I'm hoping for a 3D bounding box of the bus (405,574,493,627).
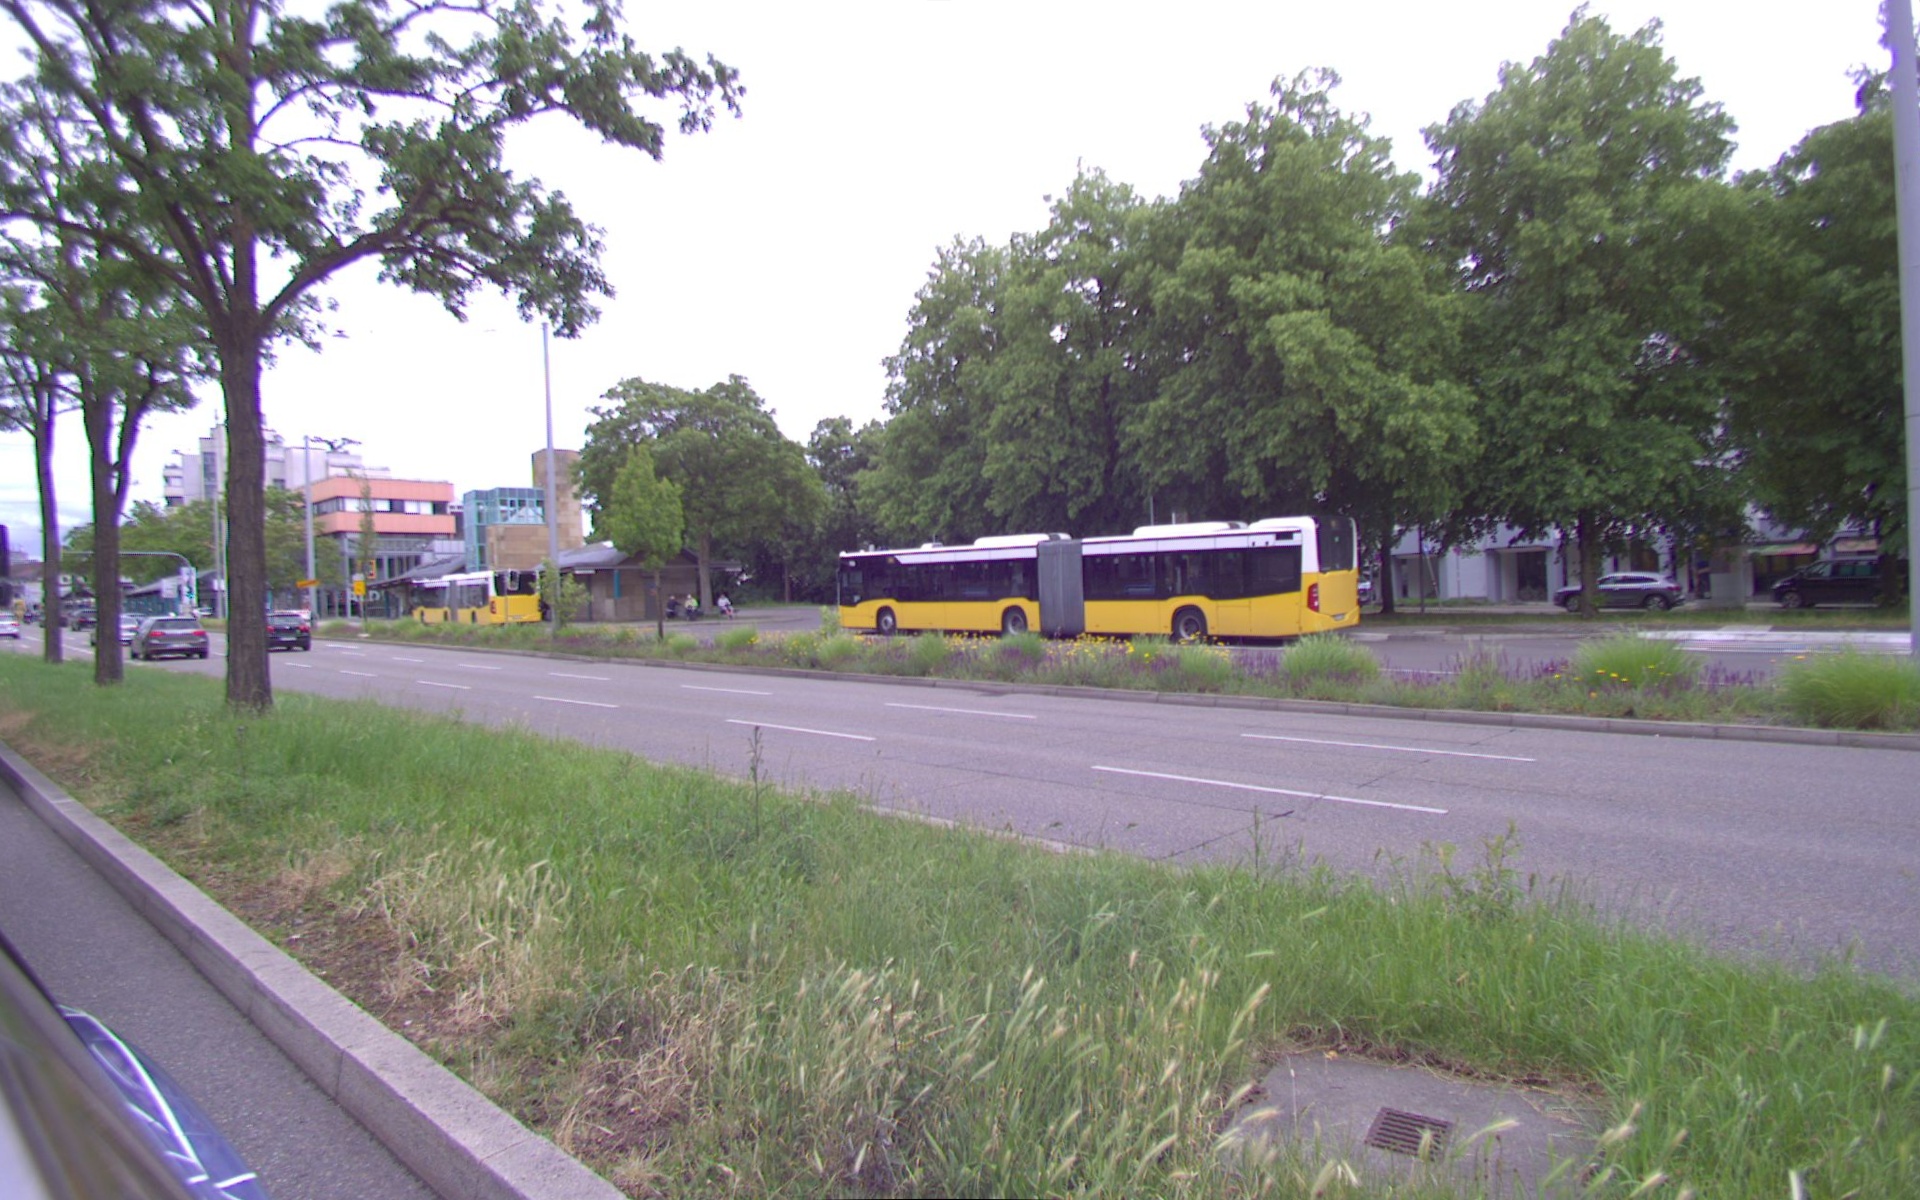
[{"bbox_3d":[-31.610,0.070,62.381,2.846,3.025,9.191,-1,0,-40],"label":"bus"}]

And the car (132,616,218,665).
[{"bbox_3d":[-26.169,1.324,33.683,4.001,1.489,1.704,-1,0,44],"label":"car"}]

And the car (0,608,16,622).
[{"bbox_3d":[-139.798,2.178,148.110,3.998,2.029,1.973,-1,0,41],"label":"car"}]

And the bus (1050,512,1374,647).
[{"bbox_3d":[6.287,-0.420,26.450,2.849,3.025,7.889,-1,0,-44],"label":"bus"}]

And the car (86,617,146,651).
[{"bbox_3d":[-39.670,1.571,47.539,4.001,1.489,1.704,-1,0,44],"label":"car"}]

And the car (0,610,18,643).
[{"bbox_3d":[-59.993,1.671,63.010,4.000,2.029,1.703,-1,0,43],"label":"car"}]

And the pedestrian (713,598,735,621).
[{"bbox_3d":[-11.916,0.474,51.097,0.924,1.180,0.641,-1,0,41],"label":"pedestrian"}]

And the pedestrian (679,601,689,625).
[{"bbox_3d":[-13.717,0.635,50.326,0.361,1.175,0.900,-1,0,-23],"label":"pedestrian"}]

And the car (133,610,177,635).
[{"bbox_3d":[-51.891,1.440,65.192,4.001,1.489,1.704,-1,0,44],"label":"car"}]

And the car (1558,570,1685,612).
[{"bbox_3d":[26.206,-0.344,40.172,3.998,1.524,1.736,-1,0,41],"label":"car"}]

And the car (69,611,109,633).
[{"bbox_3d":[-69.301,1.736,80.502,3.998,1.624,1.822,-1,0,41],"label":"car"}]

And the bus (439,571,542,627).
[{"bbox_3d":[-25.779,-0.012,55.317,2.846,2.830,9.191,-1,0,-40],"label":"bus"}]

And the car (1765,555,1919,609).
[{"bbox_3d":[33.124,-0.634,37.787,1.758,1.861,4.429,-1,0,-35],"label":"car"}]

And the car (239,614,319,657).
[{"bbox_3d":[-25.819,1.324,38.338,4.001,1.489,1.704,-1,0,44],"label":"car"}]

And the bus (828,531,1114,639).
[{"bbox_3d":[-0.038,-0.349,33.047,2.849,3.025,10.401,-1,0,-44],"label":"bus"}]

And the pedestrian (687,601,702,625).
[{"bbox_3d":[-13.252,0.631,50.498,0.589,1.171,0.745,-1,0,-23],"label":"pedestrian"}]

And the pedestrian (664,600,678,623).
[{"bbox_3d":[-14.854,0.601,52.060,0.589,1.171,0.745,-1,0,-24],"label":"pedestrian"}]
